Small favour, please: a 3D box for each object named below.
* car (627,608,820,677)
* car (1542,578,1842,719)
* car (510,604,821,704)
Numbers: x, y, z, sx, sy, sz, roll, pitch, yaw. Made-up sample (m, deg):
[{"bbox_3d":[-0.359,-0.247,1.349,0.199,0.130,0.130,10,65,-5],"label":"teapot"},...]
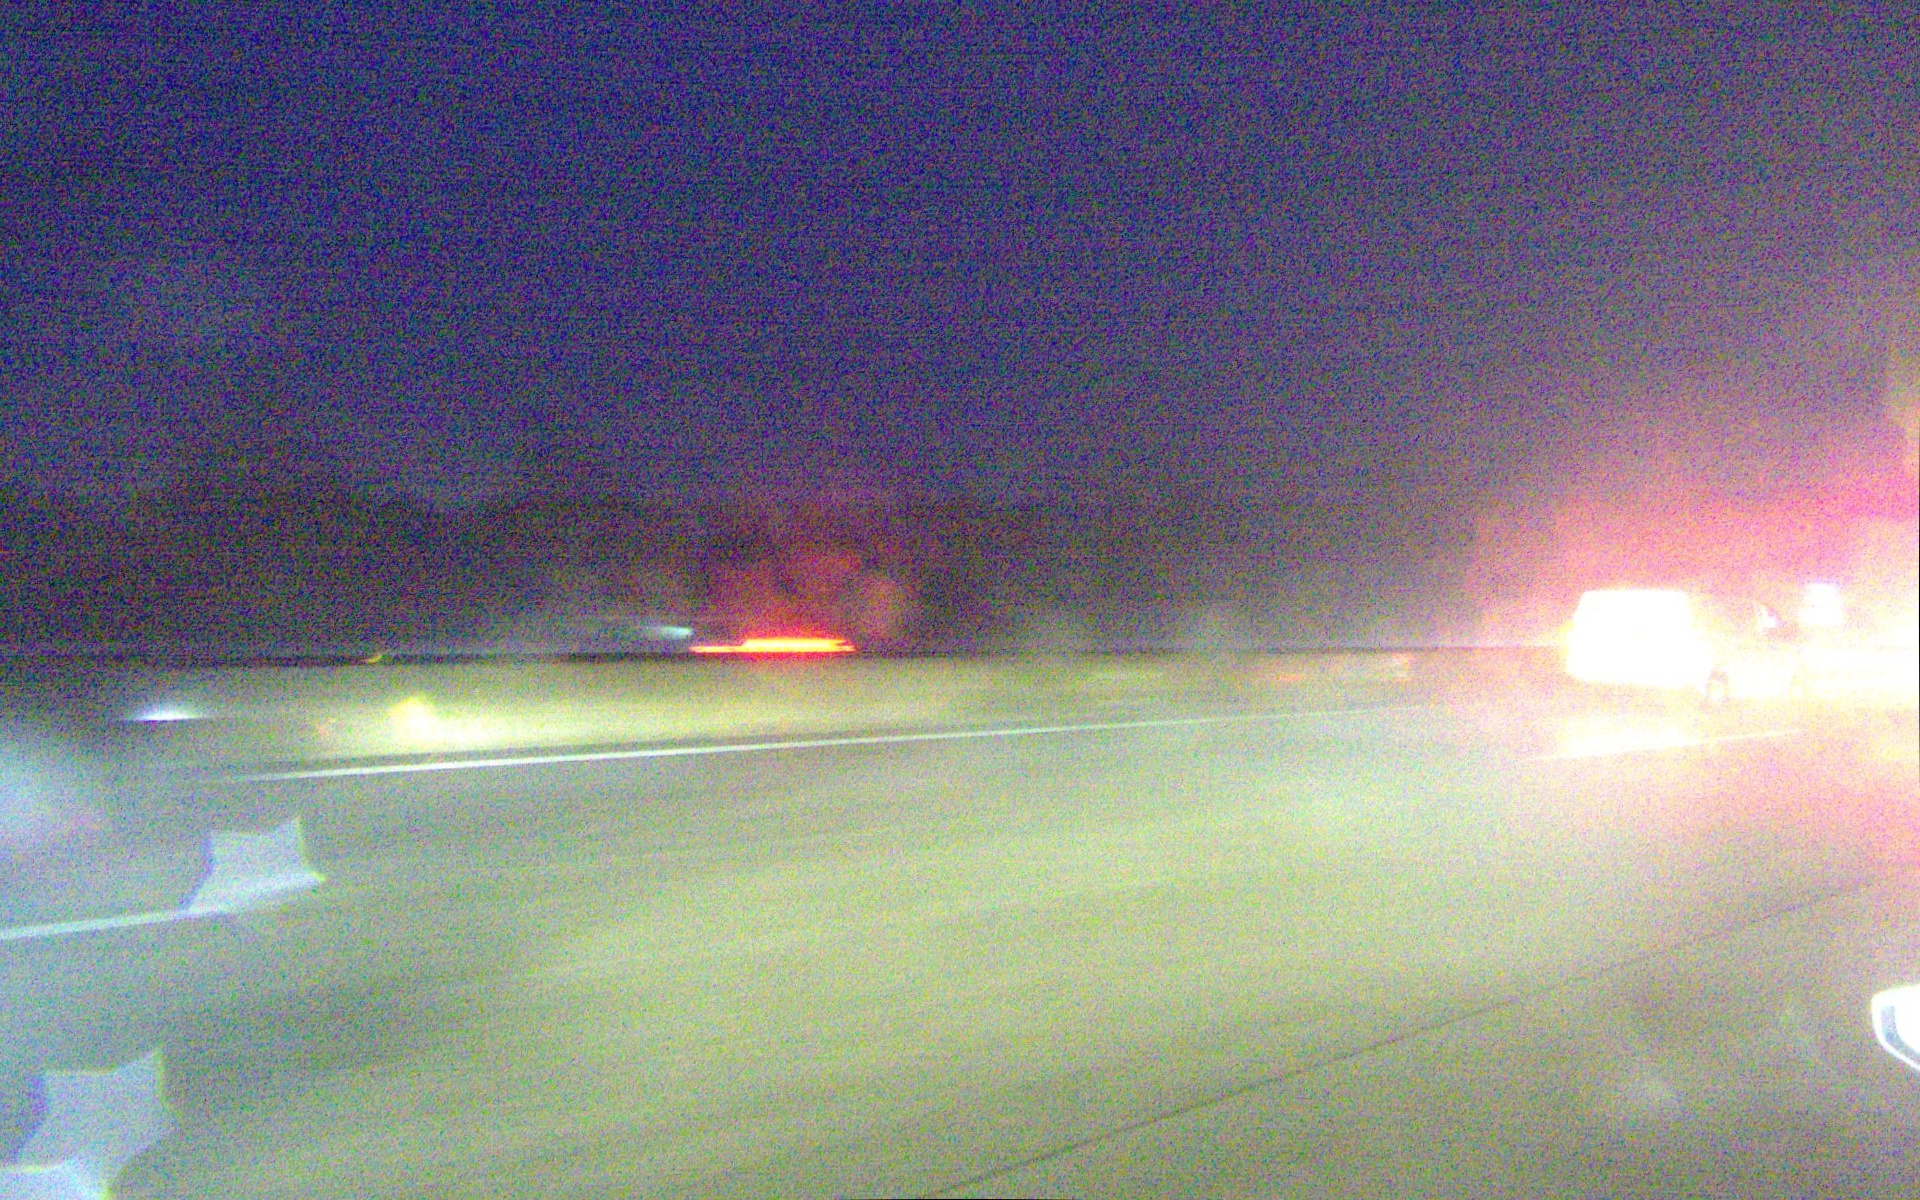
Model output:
[{"bbox_3d":[-5.832,1.037,24.937,4.301,1.538,1.796,2,0,-32],"label":"car"},{"bbox_3d":[12.808,0.778,17.478,5.561,2.132,2.113,1,0,-30],"label":"car"},{"bbox_3d":[-4.769,0.846,16.535,4.622,1.413,1.742,2,0,-33],"label":"car"}]
